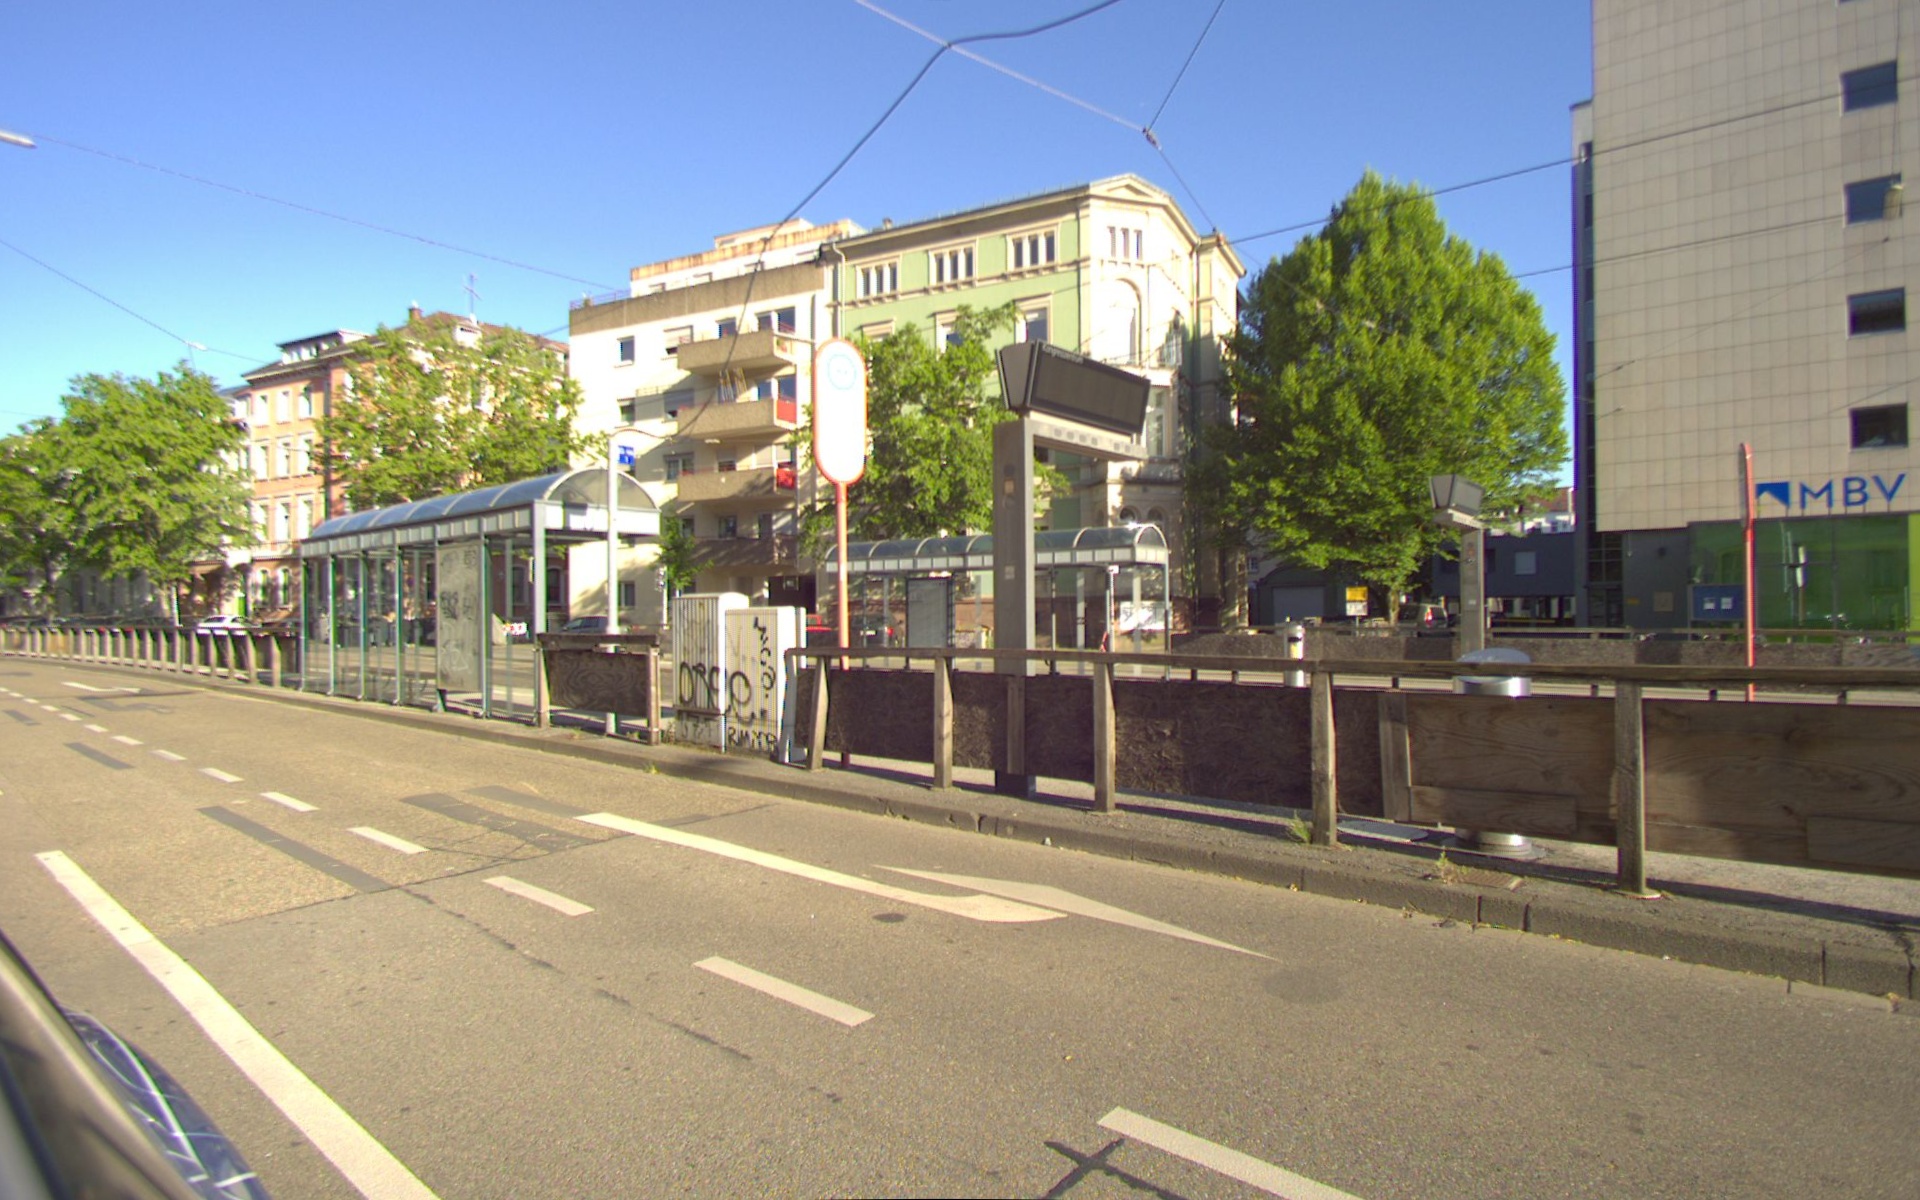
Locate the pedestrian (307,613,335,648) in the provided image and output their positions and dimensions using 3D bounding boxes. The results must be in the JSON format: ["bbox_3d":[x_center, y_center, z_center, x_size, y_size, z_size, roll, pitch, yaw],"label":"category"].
[{"bbox_3d":[-31.935,1.537,50.588,1.016,1.733,0.846,-1,-2,32],"label":"pedestrian"}]

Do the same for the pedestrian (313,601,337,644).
[{"bbox_3d":[-33.153,1.176,52.864,0.753,2.224,0.804,-1,-2,30],"label":"pedestrian"}]

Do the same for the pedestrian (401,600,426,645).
[{"bbox_3d":[-27.132,1.133,50.253,0.753,2.224,0.804,-1,-2,30],"label":"pedestrian"}]

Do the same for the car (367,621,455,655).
[{"bbox_3d":[-23.714,1.615,43.673,3.986,1.407,1.592,-1,-2,32],"label":"car"}]

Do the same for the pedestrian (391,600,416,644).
[{"bbox_3d":[-27.917,1.108,50.757,0.753,2.224,0.804,-1,-2,30],"label":"pedestrian"}]

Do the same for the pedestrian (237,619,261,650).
[{"bbox_3d":[-38.329,1.871,54.573,0.853,1.641,0.894,0,-1,-19],"label":"pedestrian"}]

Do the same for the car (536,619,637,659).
[{"bbox_3d":[-14.291,1.468,38.691,3.725,1.438,1.637,-1,-1,29],"label":"car"}]

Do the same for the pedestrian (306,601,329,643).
[{"bbox_3d":[-34.237,1.190,53.911,0.755,2.224,0.803,-1,-2,36],"label":"pedestrian"}]

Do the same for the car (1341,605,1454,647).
[{"bbox_3d":[15.726,0.899,36.472,1.544,1.423,3.430,-1,0,-38],"label":"car"}]

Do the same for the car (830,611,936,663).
[{"bbox_3d":[-2.477,1.183,33.481,1.754,1.594,3.965,-1,-1,26],"label":"car"}]

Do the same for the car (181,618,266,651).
[{"bbox_3d":[-39.399,1.814,54.276,1.825,1.721,4.130,0,-1,-5],"label":"car"}]

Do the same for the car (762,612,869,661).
[{"bbox_3d":[-4.851,1.214,34.525,1.754,1.594,3.965,-1,-1,26],"label":"car"}]
